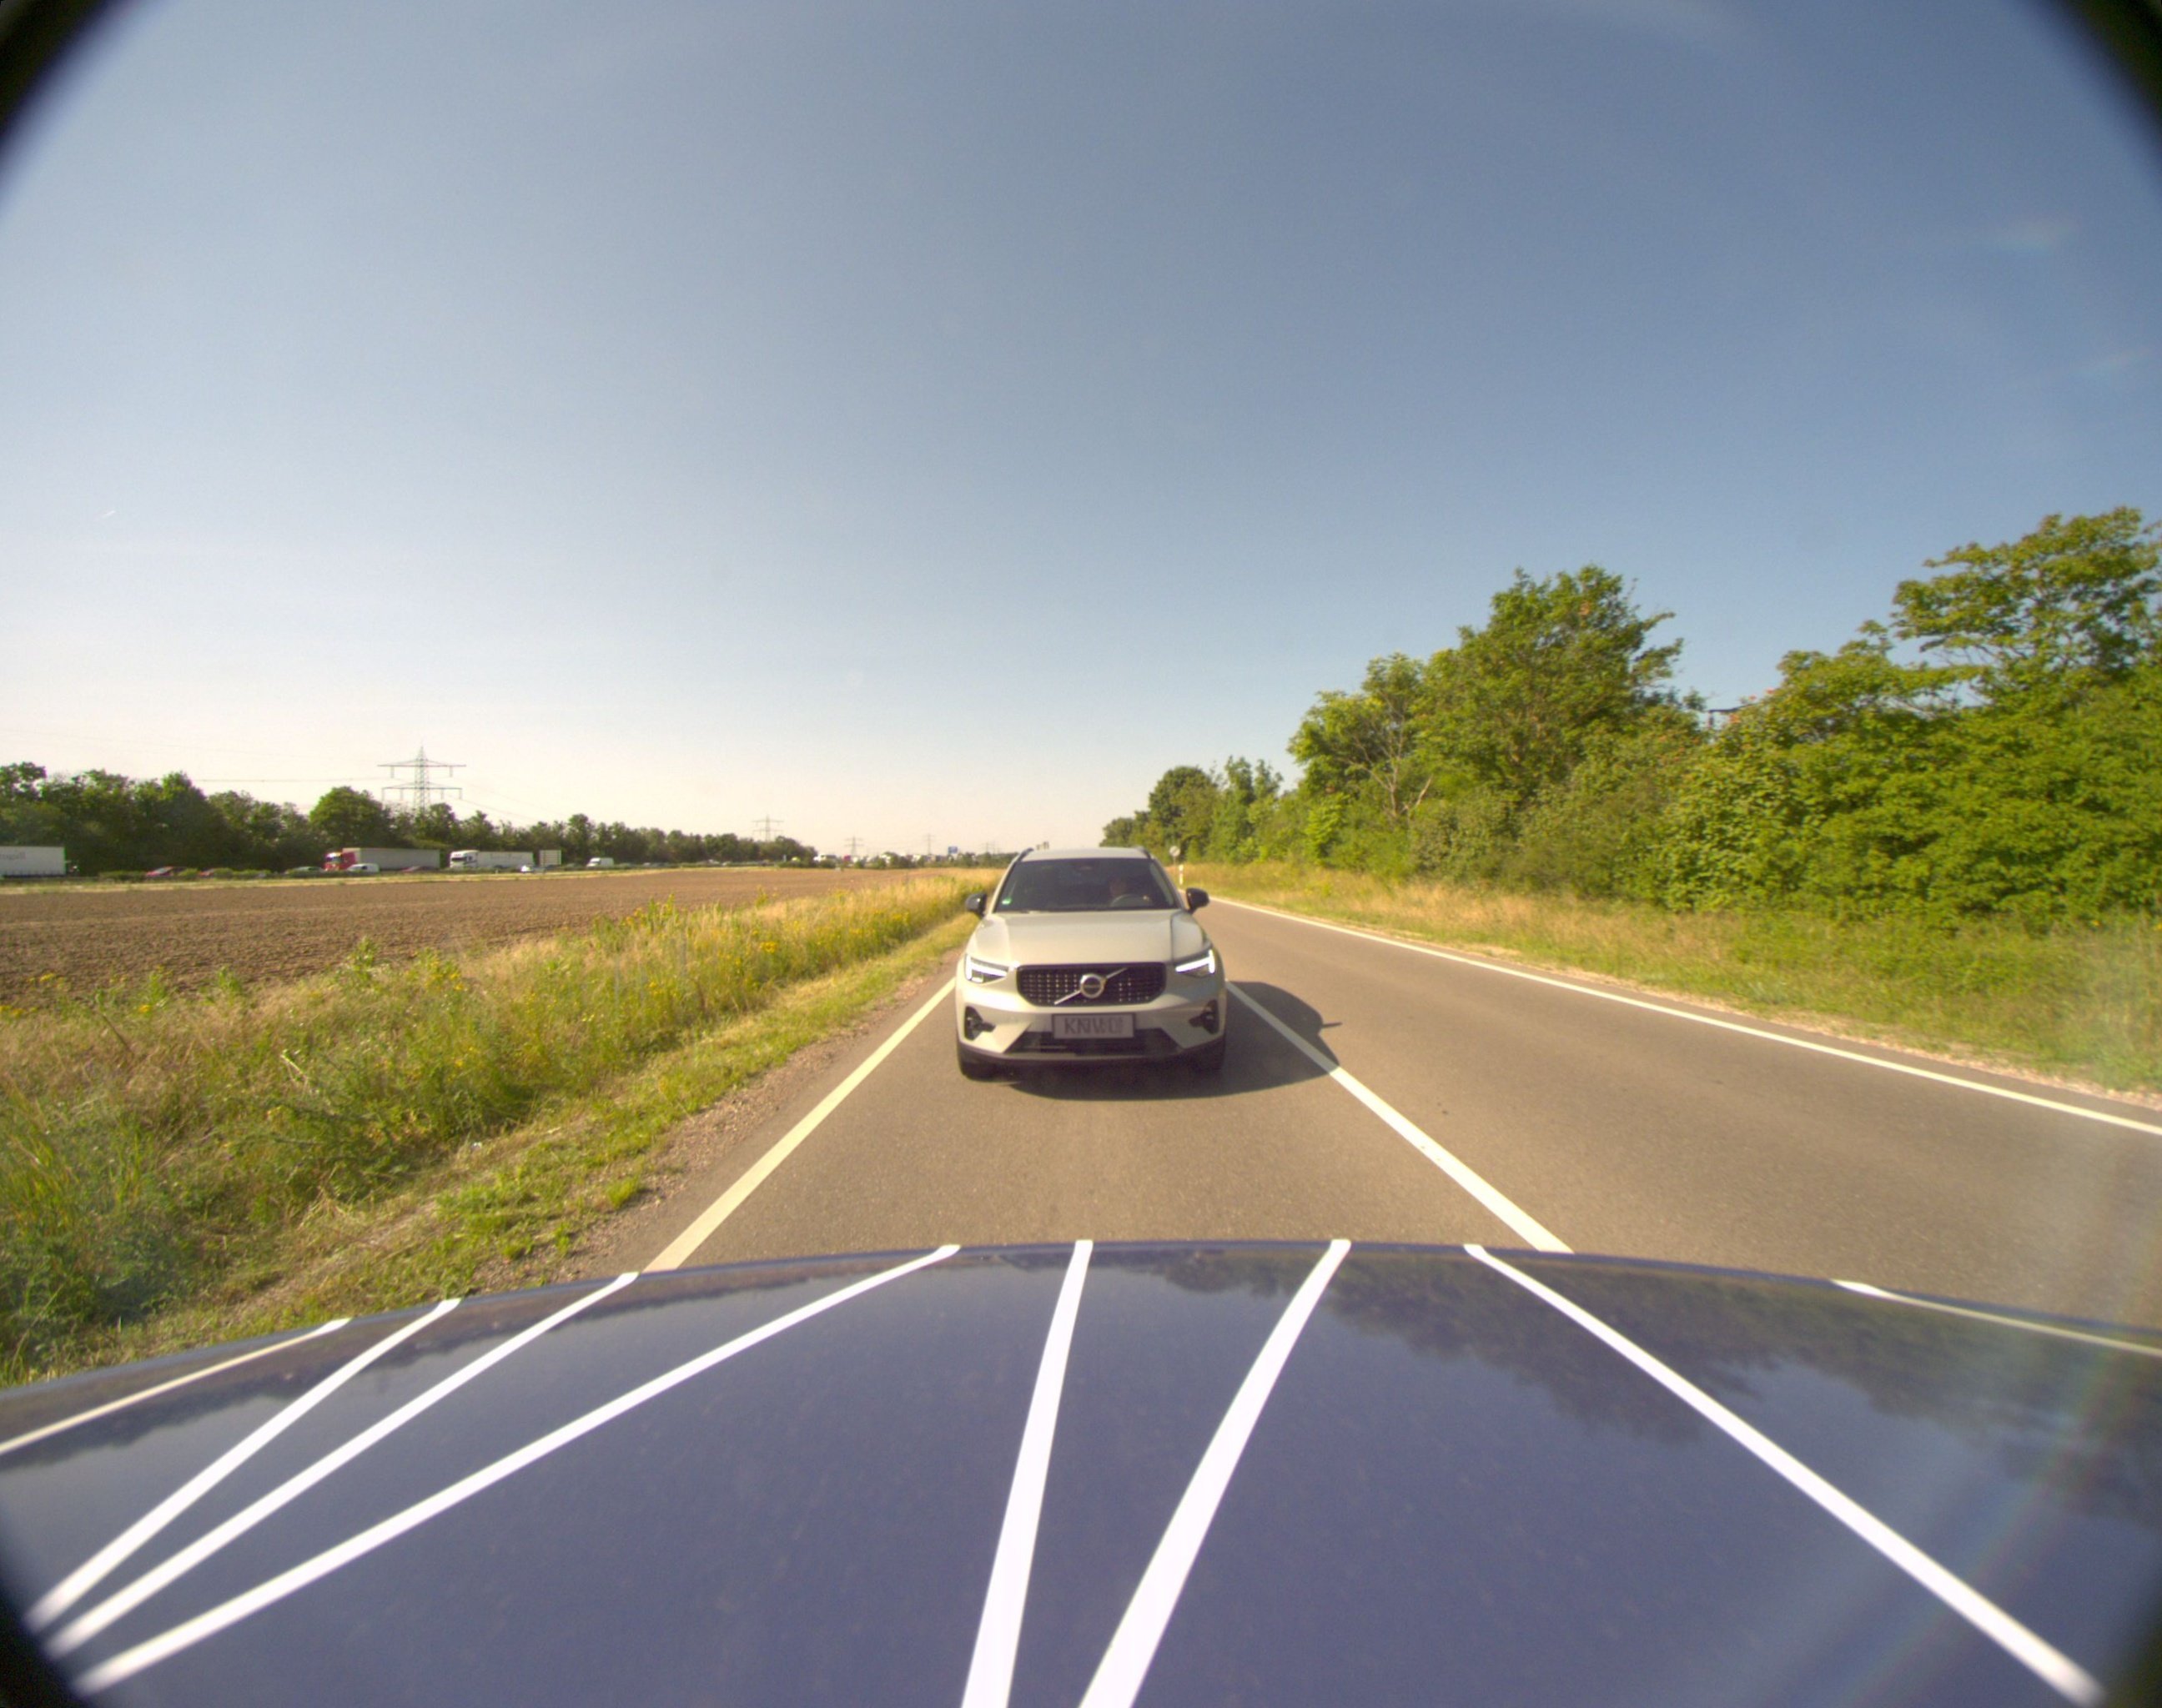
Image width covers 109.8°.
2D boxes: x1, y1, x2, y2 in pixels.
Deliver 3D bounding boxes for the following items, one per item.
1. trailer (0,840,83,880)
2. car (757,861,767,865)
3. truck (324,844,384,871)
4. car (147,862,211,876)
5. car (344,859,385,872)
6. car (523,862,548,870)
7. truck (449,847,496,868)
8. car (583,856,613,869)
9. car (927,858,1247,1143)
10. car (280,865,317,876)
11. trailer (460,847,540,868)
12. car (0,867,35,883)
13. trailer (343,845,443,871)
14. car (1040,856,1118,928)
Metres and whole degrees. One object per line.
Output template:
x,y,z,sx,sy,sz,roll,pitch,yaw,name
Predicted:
-102.964,0.592,70.526,3.079,3.711,13.365,-1,0,0,trailer
-90.810,2.596,216.271,1.550,1.227,3.619,-3,0,-2,car
-103.892,0.534,108.667,2.953,3.711,5.869,-1,0,-1,truck
-97.572,1.639,82.249,1.855,1.377,4.247,-2,0,-2,car
-97.576,1.532,103.475,1.707,1.629,4.093,-2,0,-2,car
-89.718,2.013,125.037,1.550,1.227,3.619,-3,0,-2,car
-103.974,0.596,129.893,3.211,3.510,6.108,0,0,-2,truck
-99.687,1.745,156.826,2.042,2.432,6.413,-1,0,-1,car
0.020,0.869,6.538,1.840,1.627,4.135,-1,0,-1,car
-98.085,2.013,95.309,1.344,1.276,3.291,-2,0,-3,car
-104.198,0.612,136.714,3.211,3.510,15.080,0,0,-2,trailer
-97.296,1.882,67.848,1.855,1.377,4.247,-2,0,-2,car
-104.042,0.547,115.445,2.953,3.711,13.780,-1,0,-1,trailer
-0.099,0.906,19.748,1.790,1.664,3.999,-1,0,-2,car
